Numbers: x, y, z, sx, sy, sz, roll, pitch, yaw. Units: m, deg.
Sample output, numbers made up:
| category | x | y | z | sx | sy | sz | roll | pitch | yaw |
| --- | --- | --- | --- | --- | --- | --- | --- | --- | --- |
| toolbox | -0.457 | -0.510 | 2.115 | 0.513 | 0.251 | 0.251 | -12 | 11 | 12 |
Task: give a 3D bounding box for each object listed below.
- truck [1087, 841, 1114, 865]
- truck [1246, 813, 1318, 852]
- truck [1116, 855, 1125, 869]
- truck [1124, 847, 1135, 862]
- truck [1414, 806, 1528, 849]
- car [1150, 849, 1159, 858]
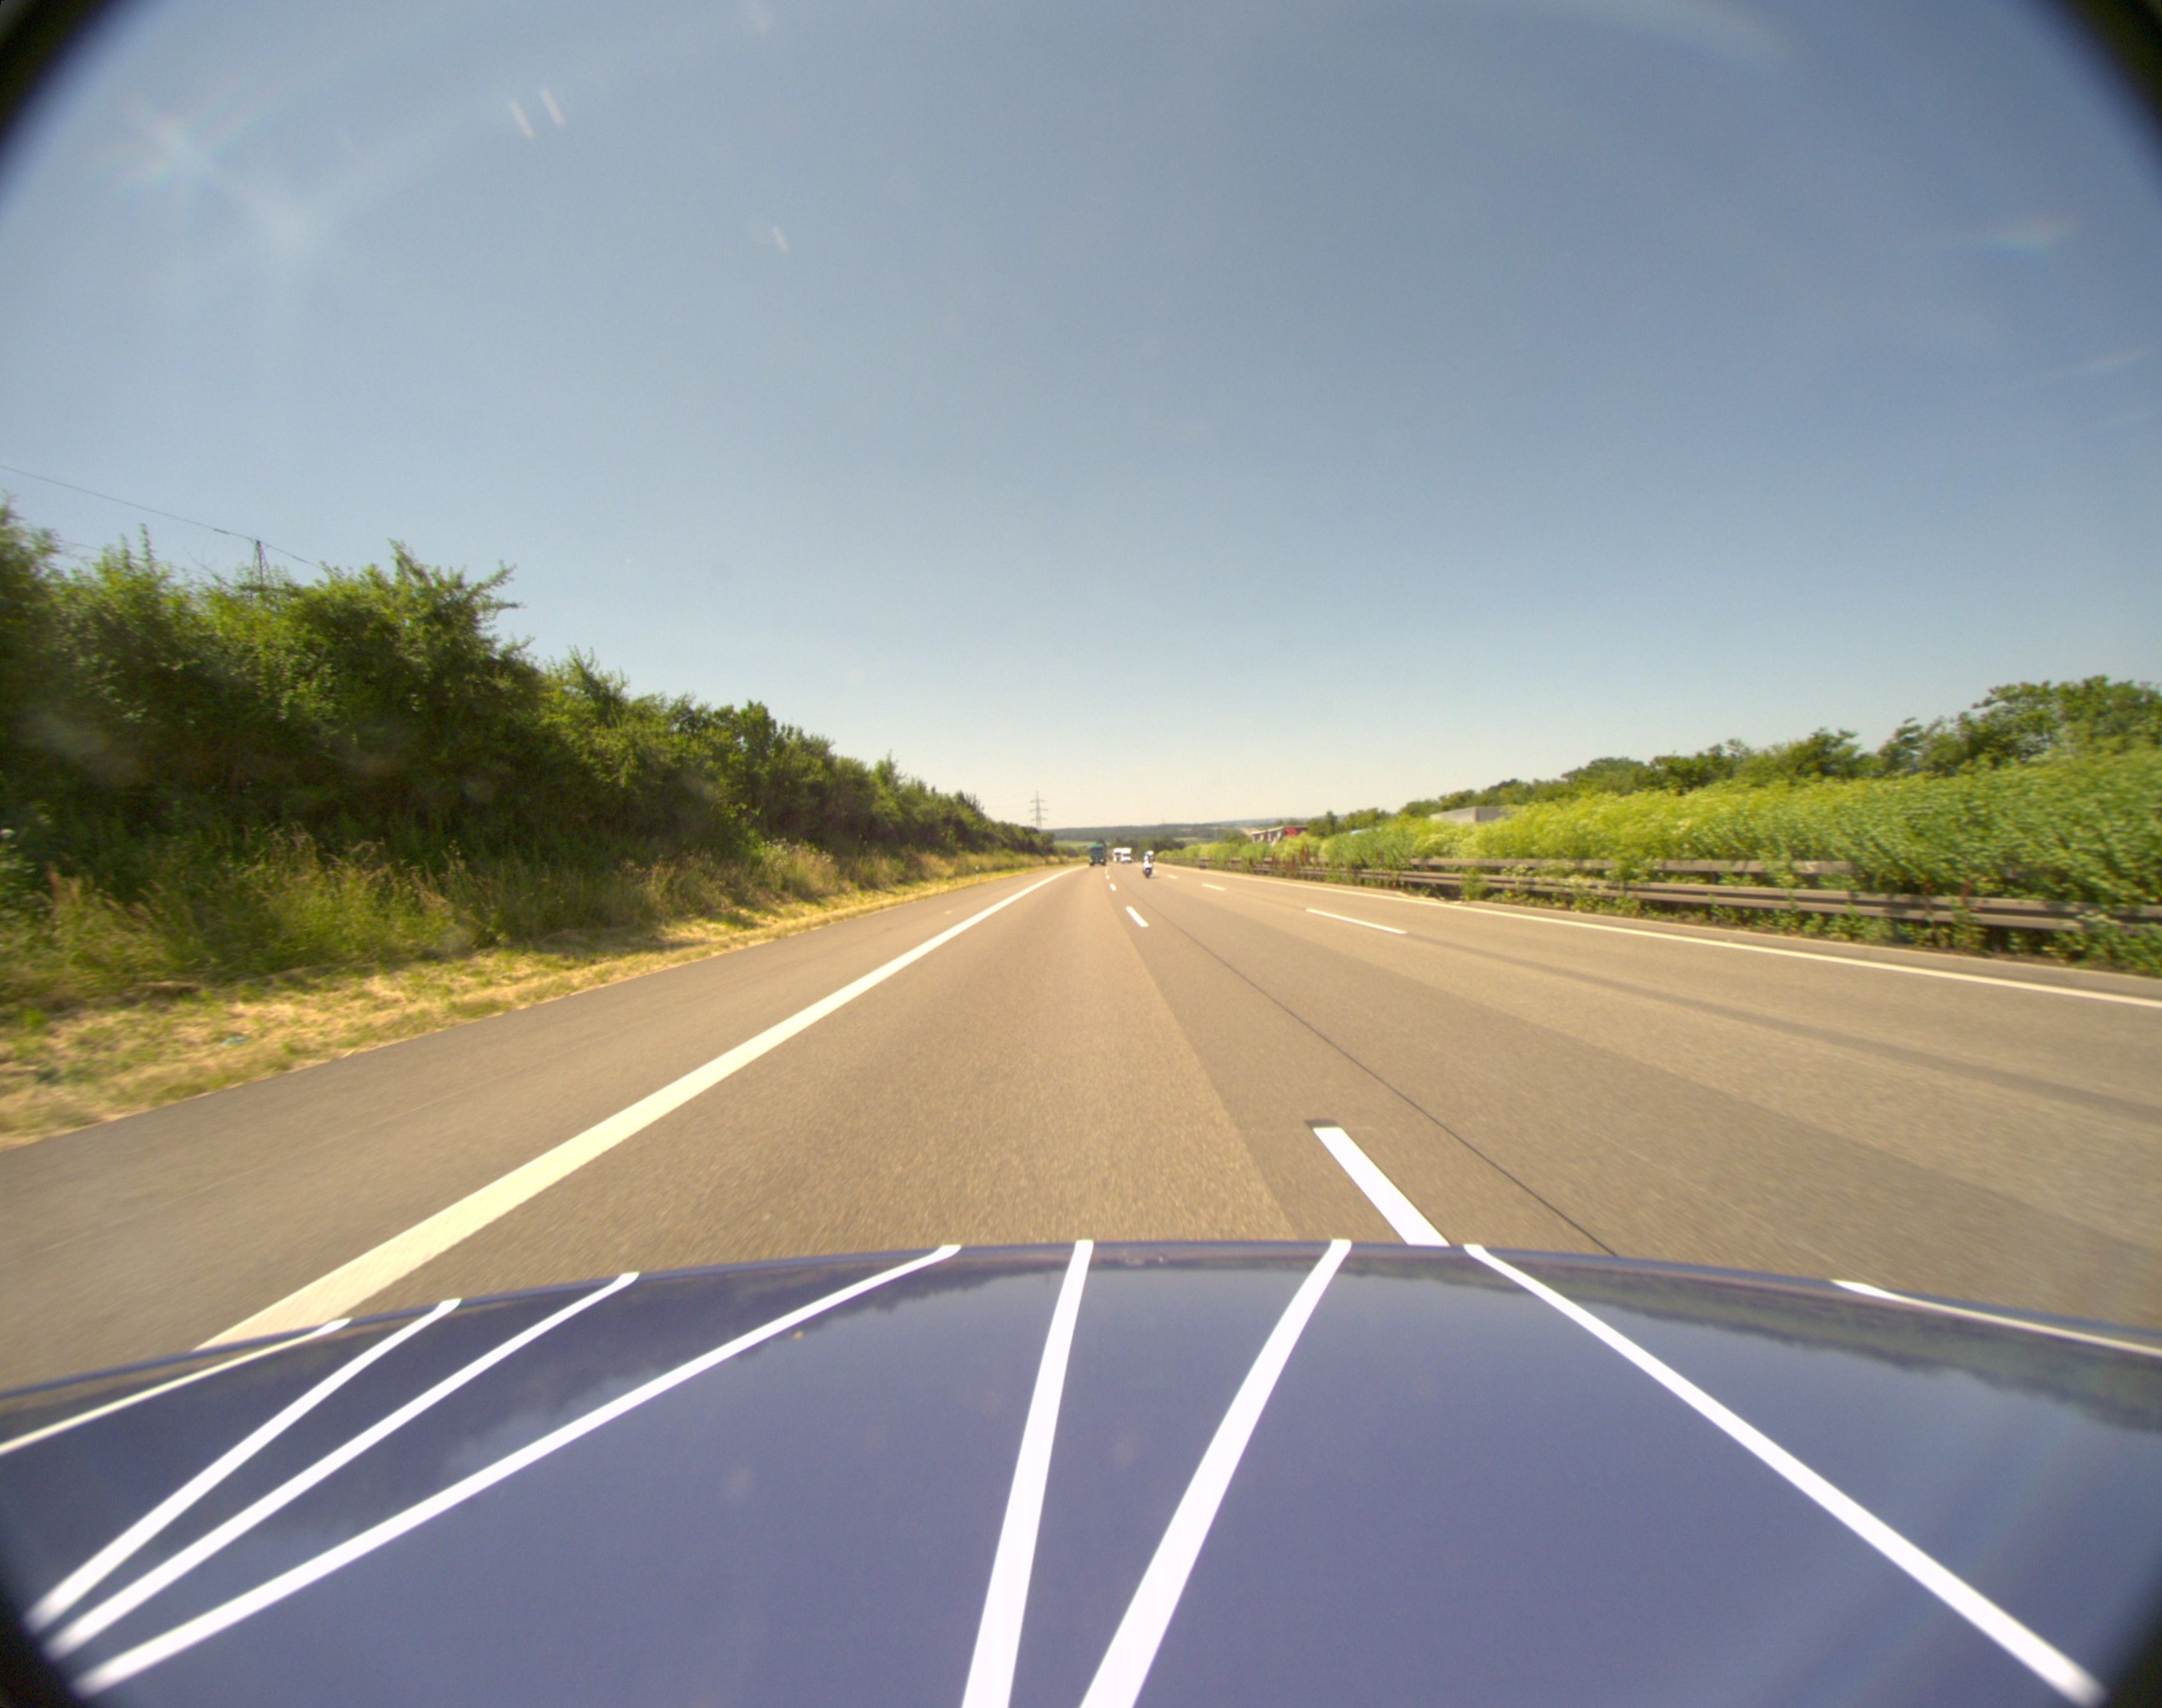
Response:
| category | x | y | z | sx | sy | sz | roll | pitch | yaw |
| --- | --- | --- | --- | --- | --- | --- | --- | --- | --- |
| truck | 3.379 | -0.115 | 127.961 | 2.870 | 3.702 | 12.772 | -1 | 0 | 9 |
| truck | 22.642 | -2.234 | 87.159 | 3.238 | 3.590 | 18.531 | -4 | 0 | 0 |
| truck | 11.889 | 2.383 | 228.339 | 2.567 | 4.129 | 6.250 | -1 | 0 | 3 |
| truck | 10.804 | 0.075 | 169.253 | 2.512 | 3.268 | 8.109 | -1 | 0 | 4 |
| truck | 20.477 | -1.322 | 40.421 | 2.498 | 2.002 | 6.796 | -1 | 0 | -1 |
| car | 16.251 | -0.004 | 168.457 | 1.704 | 1.958 | 4.001 | -1 | 0 | 4 |
